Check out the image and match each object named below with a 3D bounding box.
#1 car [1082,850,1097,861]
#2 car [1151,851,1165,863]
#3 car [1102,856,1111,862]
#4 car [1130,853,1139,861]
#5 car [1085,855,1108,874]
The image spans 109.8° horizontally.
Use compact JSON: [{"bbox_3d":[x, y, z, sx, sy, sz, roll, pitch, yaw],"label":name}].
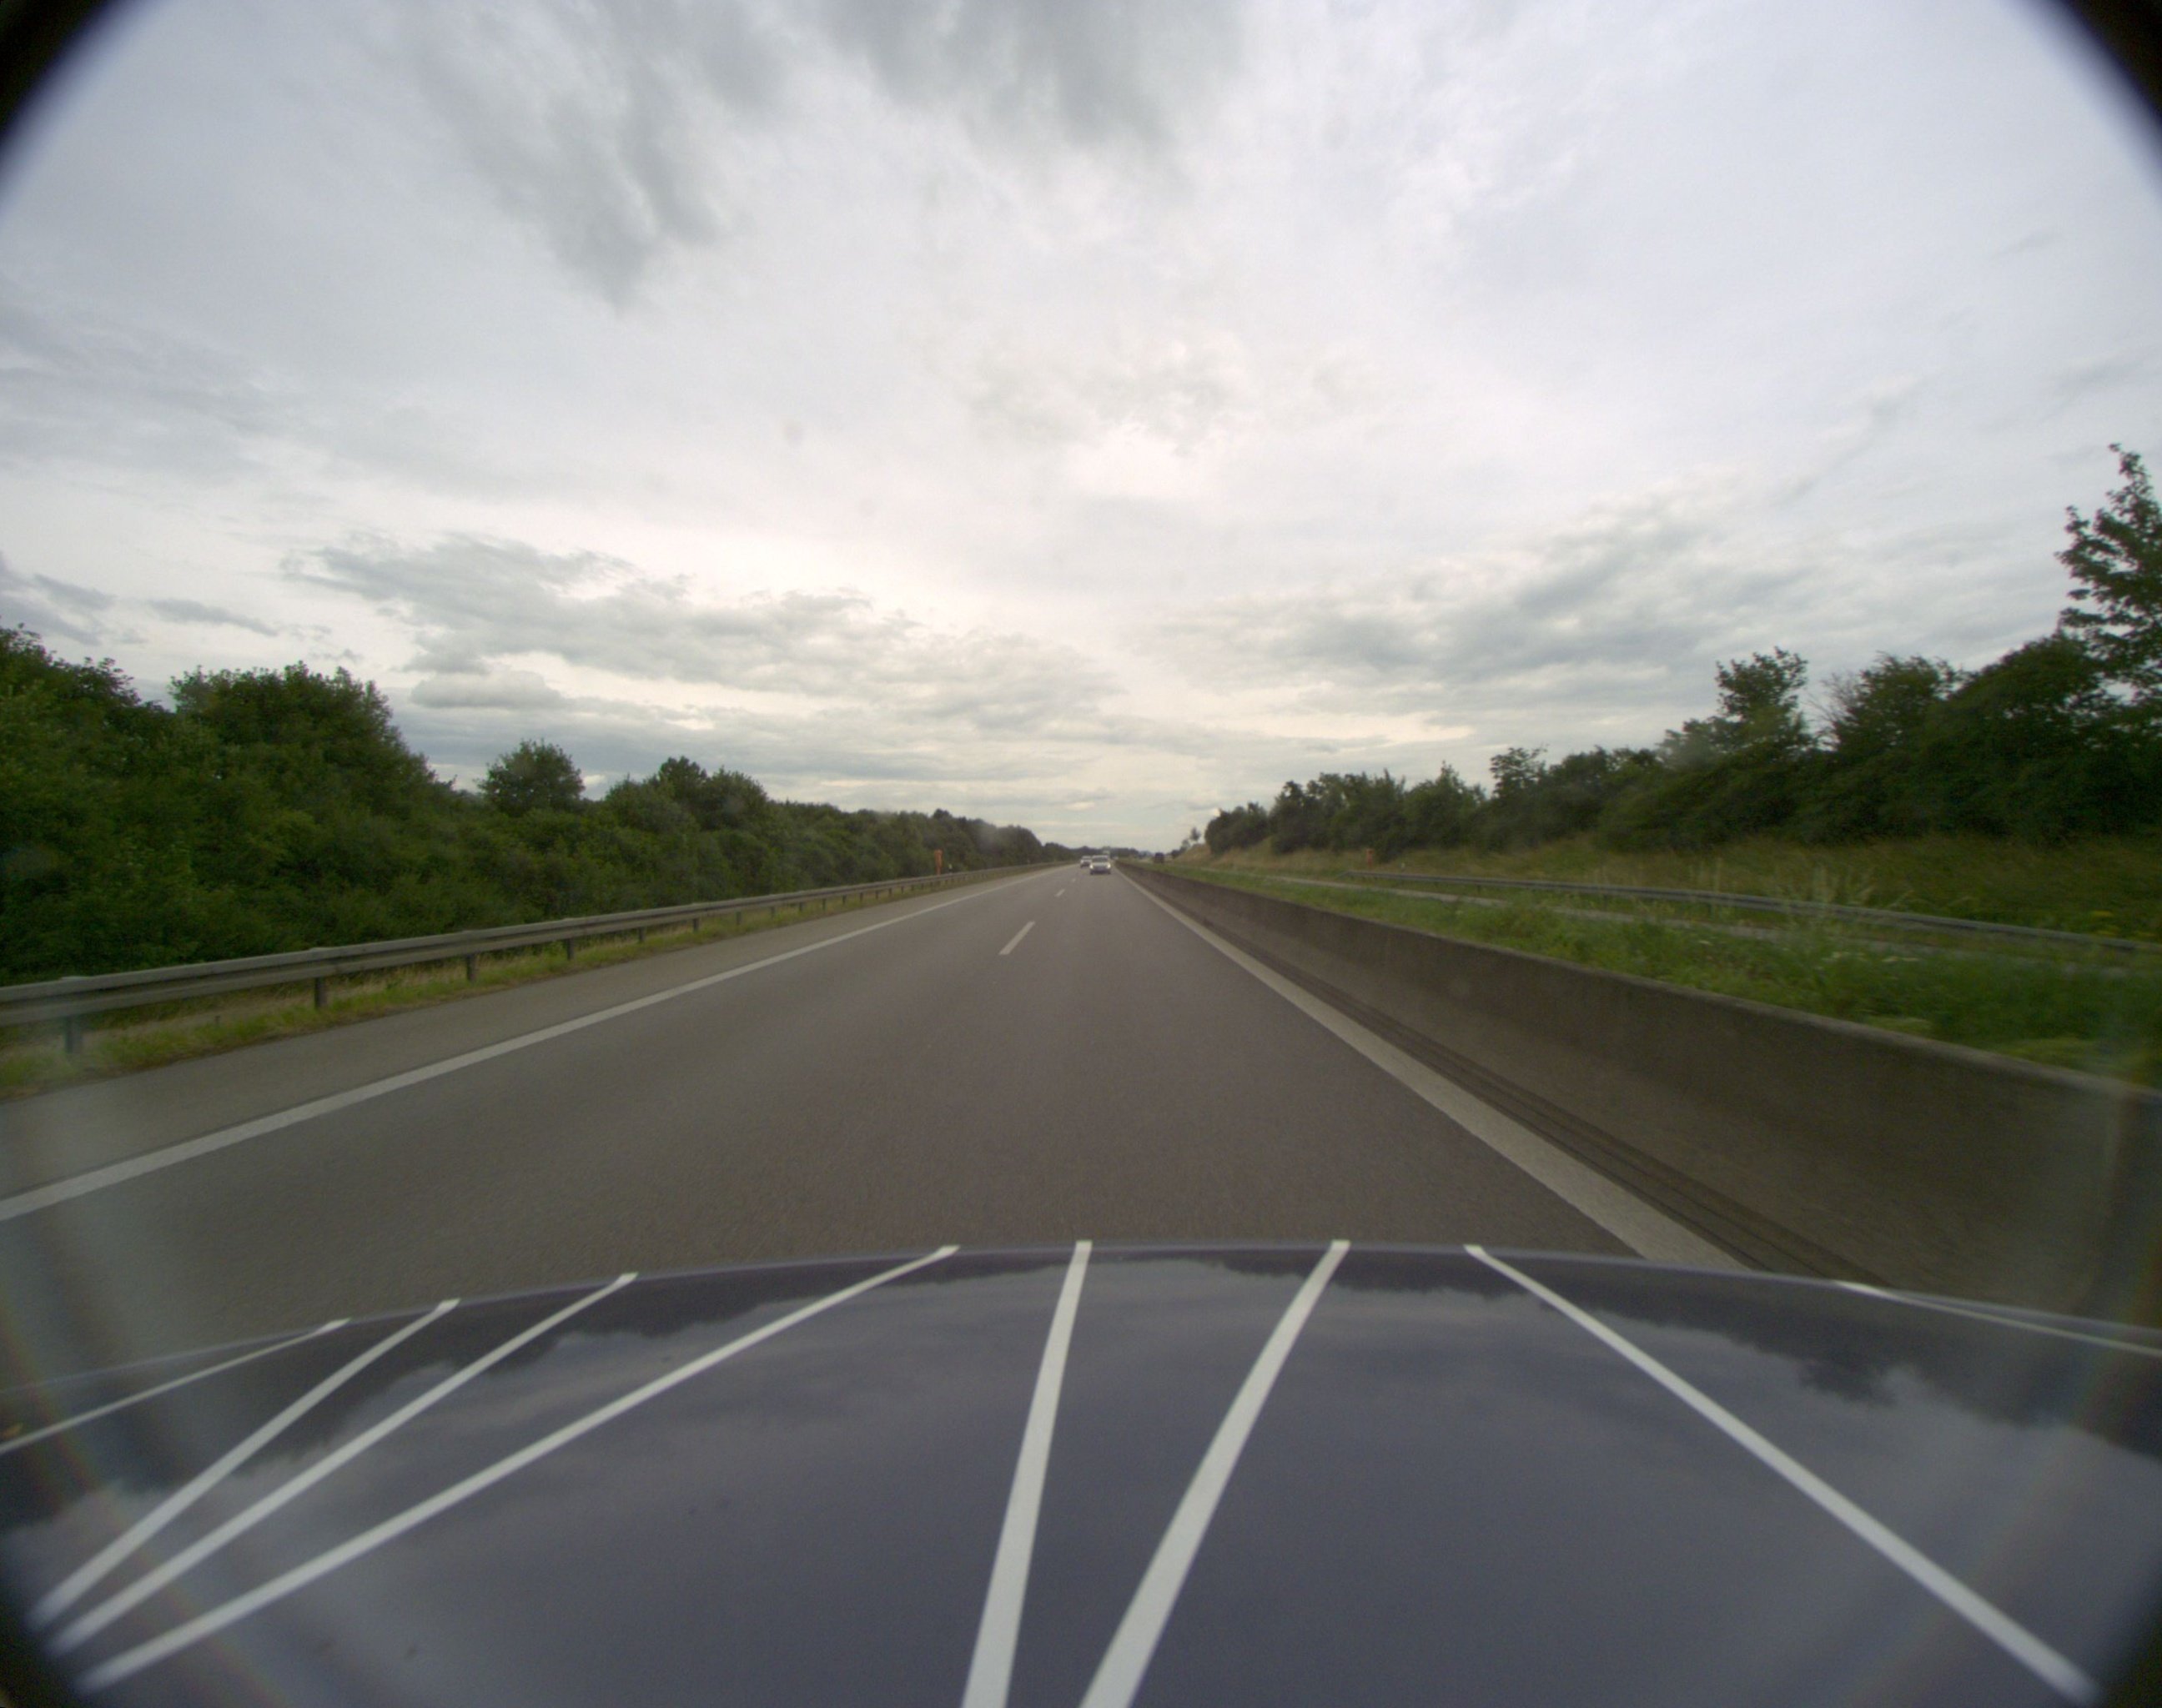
[{"bbox_3d":[1.322,0.275,111.362,1.915,1.553,4.289,-1,0,5],"label":"car"},{"bbox_3d":[15.585,0.593,154.254,2.175,2.450,6.723,1,0,1],"label":"car"},{"bbox_3d":[6.344,1.190,186.028,1.915,1.553,4.289,-1,0,5],"label":"car"},{"bbox_3d":[13.349,0.795,188.849,1.984,2.002,5.130,-1,0,1],"label":"car"},{"bbox_3d":[1.304,0.911,65.578,1.916,1.553,4.288,-1,0,0],"label":"car"}]
